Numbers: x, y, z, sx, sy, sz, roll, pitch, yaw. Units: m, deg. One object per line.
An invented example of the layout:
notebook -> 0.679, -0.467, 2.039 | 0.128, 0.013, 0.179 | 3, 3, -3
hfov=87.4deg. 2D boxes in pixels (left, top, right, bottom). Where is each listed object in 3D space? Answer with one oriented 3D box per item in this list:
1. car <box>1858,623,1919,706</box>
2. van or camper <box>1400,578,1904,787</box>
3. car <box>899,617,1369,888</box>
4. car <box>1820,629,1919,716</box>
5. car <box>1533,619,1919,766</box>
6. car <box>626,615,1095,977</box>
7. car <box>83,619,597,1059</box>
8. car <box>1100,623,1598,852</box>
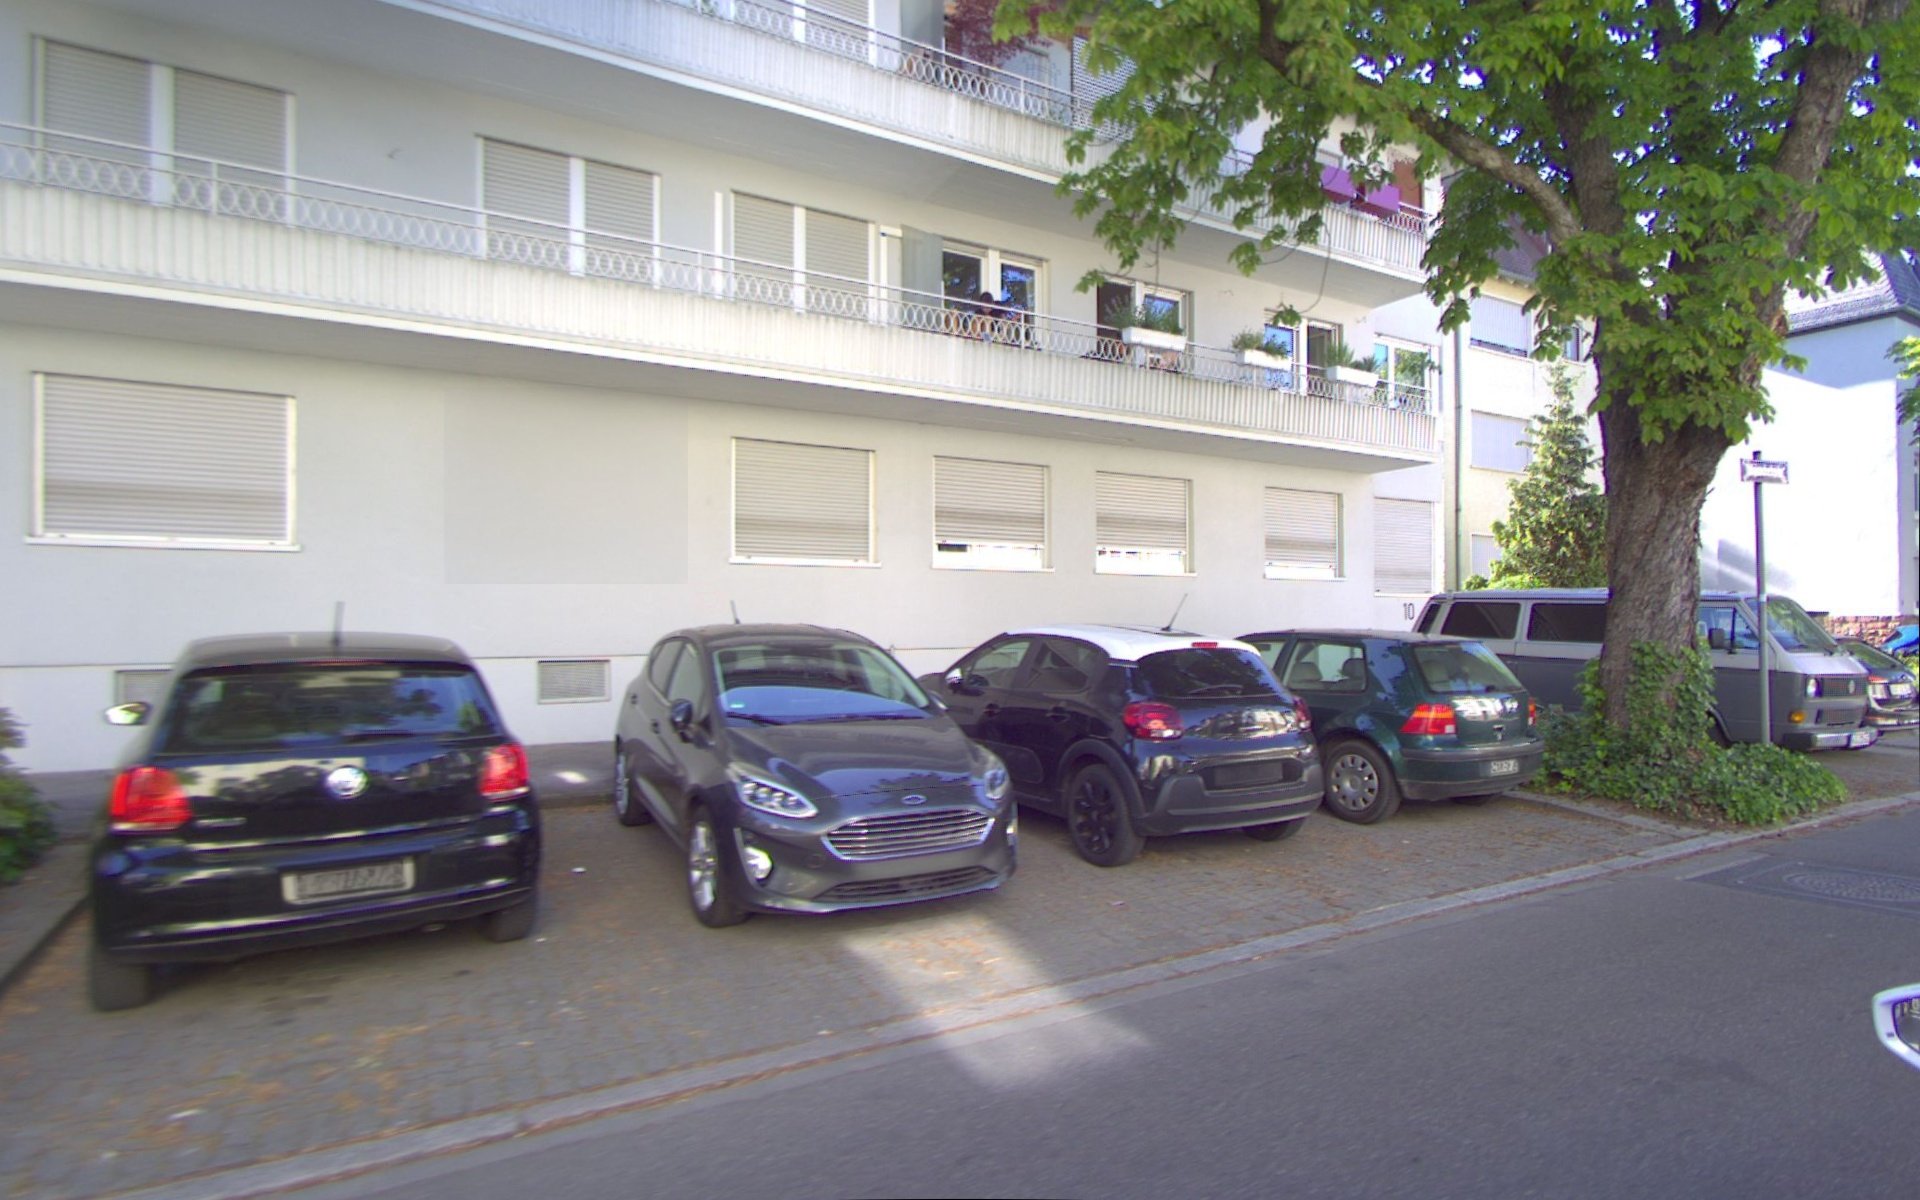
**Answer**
car -> 20.095, 1.237, 19.239 | 1.857, 1.613, 3.967 | 1, -2, -31
van or camper -> 7.716, 0.826, 11.741 | 1.941, 1.940, 4.477 | 1, -2, -30
car -> 1.076, 0.908, 7.672 | 1.775, 1.477, 3.463 | 1, 0, -29
car -> 18.014, 1.271, 17.558 | 1.840, 1.518, 4.166 | 1, -2, -31
car -> 9.863, 1.050, 13.094 | 1.641, 1.518, 3.930 | 0, 0, -27
car -> -0.906, 0.875, 6.290 | 1.689, 1.482, 3.629 | 1, 0, -28
car -> -3.281, 0.869, 5.369 | 1.693, 1.439, 3.456 | 2, -1, -35
car -> 3.143, 0.976, 8.891 | 1.696, 1.434, 3.901 | 0, 0, -32
